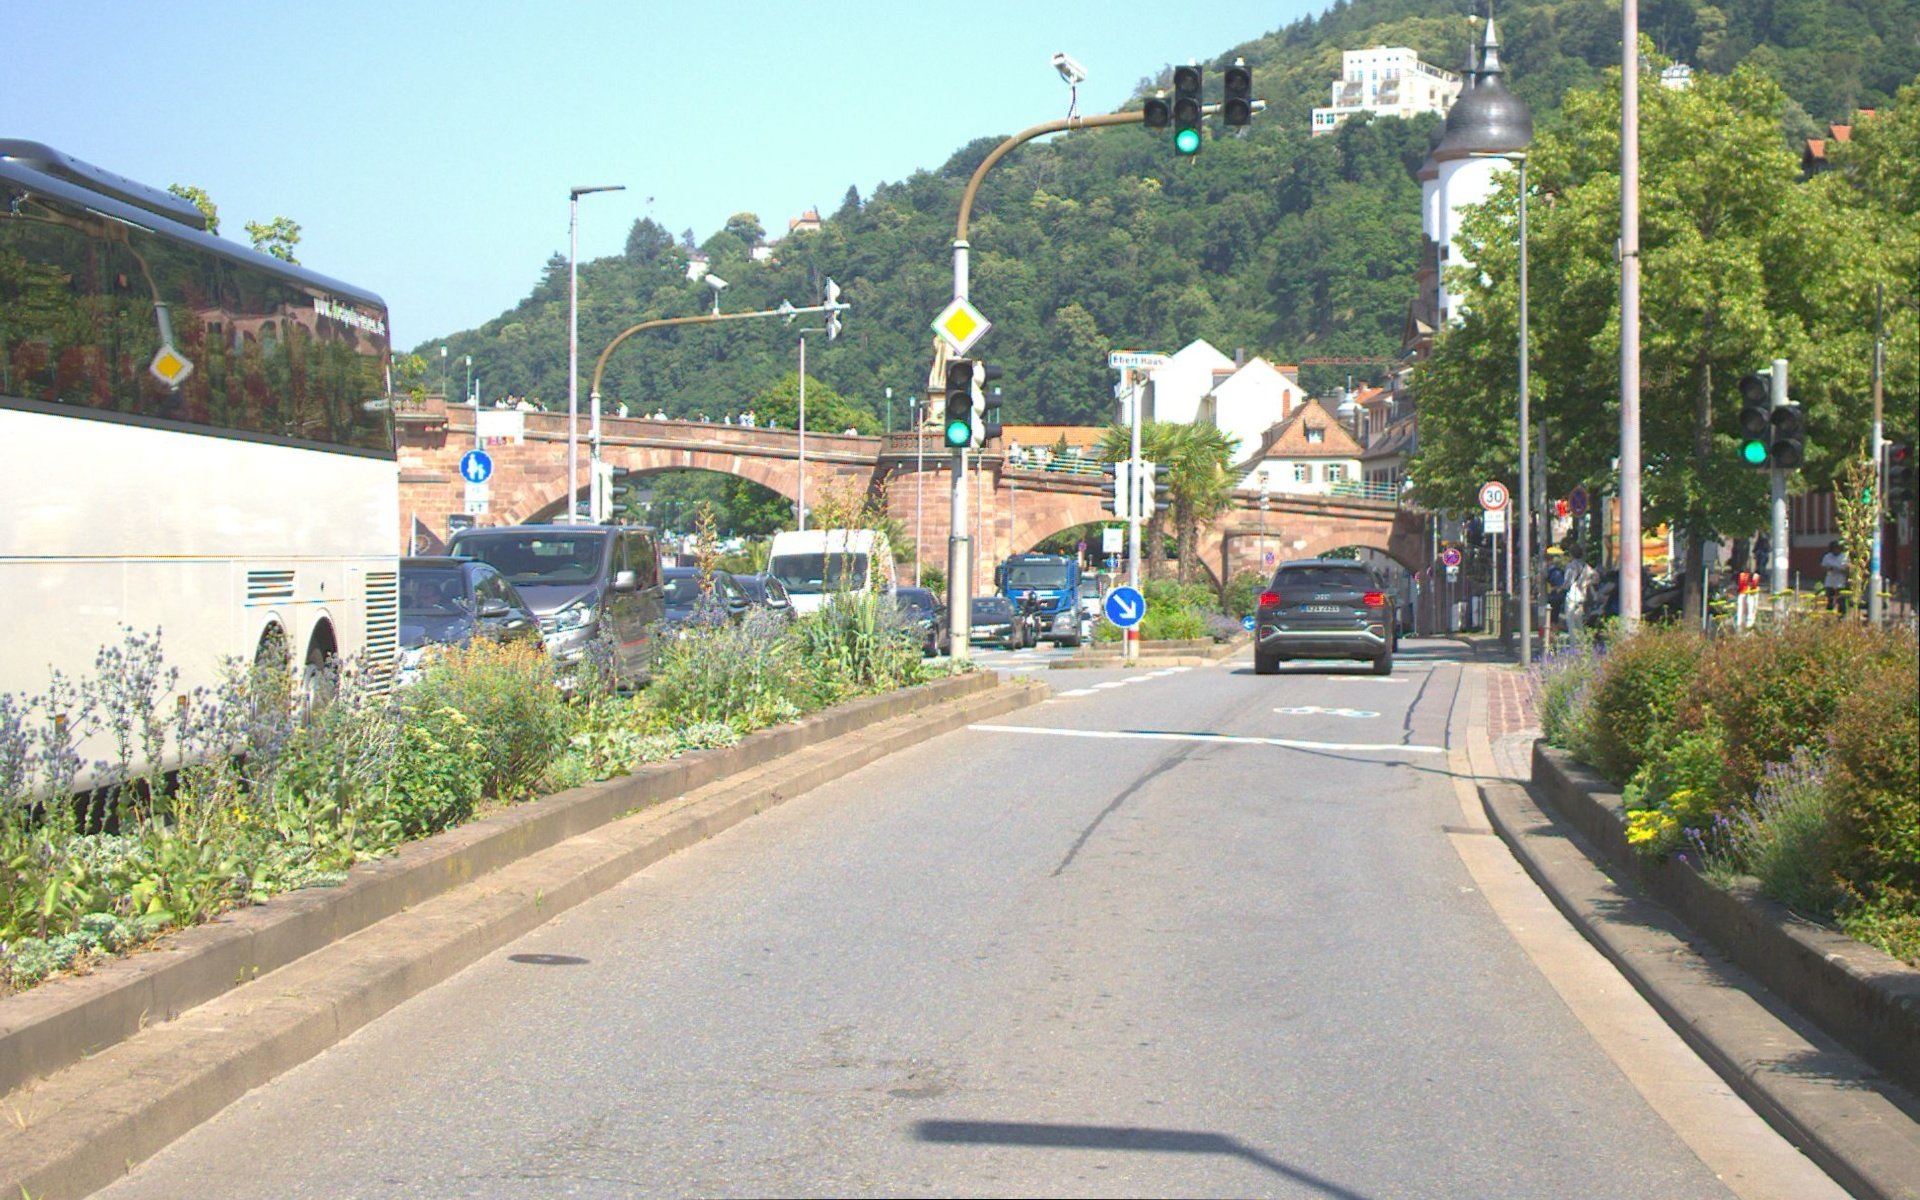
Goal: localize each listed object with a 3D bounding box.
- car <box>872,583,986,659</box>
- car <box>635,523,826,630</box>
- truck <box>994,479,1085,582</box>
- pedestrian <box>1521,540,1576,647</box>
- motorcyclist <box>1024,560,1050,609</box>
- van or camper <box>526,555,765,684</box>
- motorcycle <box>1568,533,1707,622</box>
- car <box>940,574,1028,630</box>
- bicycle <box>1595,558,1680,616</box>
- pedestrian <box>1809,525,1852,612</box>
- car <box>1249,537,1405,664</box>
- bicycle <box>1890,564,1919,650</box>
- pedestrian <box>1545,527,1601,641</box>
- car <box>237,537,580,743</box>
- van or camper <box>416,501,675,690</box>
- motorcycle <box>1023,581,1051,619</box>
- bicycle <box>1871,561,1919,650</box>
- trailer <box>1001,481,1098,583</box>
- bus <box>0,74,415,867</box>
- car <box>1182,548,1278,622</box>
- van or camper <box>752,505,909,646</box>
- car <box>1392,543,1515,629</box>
[{"bbox_3d":[-0.616,0.410,71.992,1.819,1.451,4.928,-2,1,6],"label":"car"},{"bbox_3d":[-3.230,-0.349,49.335,1.952,1.404,4.569,-2,1,6],"label":"car"},{"bbox_3d":[2.710,-2.318,115.503,2.658,3.392,4.449,0,1,6],"label":"truck"},{"bbox_3d":[9.359,-0.109,54.698,0.693,1.671,0.764,-1,1,-1],"label":"pedestrian"},{"bbox_3d":[2.329,-0.471,103.800,0.736,1.465,1.011,0,1,3],"label":"motorcyclist"},{"bbox_3d":[-3.806,0.209,42.568,1.994,1.472,5.064,-1,0,6],"label":"van or camper"},{"bbox_3d":[11.437,-0.373,58.093,0.762,1.460,2.297,0,0,-43],"label":"motorcycle"},{"bbox_3d":[0.676,0.082,93.102,1.952,1.408,4.217,-2,-1,6],"label":"car"},{"bbox_3d":[12.294,-0.235,62.400,1.484,1.043,0.251,-1,0,1],"label":"bicycle"},{"bbox_3d":[16.636,-0.600,65.708,0.708,1.647,0.707,0,1,7],"label":"pedestrian"},{"bbox_3d":[4.888,-0.044,46.093,1.927,1.548,4.831,1,1,5],"label":"car"},{"bbox_3d":[14.131,0.128,48.273,2.014,1.194,0.521,2,2,18],"label":"bicycle"},{"bbox_3d":[9.647,-0.256,54.092,0.693,1.765,0.764,-1,1,-1],"label":"pedestrian"},{"bbox_3d":[-4.765,0.285,30.513,1.993,1.593,5.157,-2,1,2],"label":"car"},{"bbox_3d":[-4.354,-0.073,36.903,1.993,1.867,5.179,0,1,2],"label":"van or camper"},{"bbox_3d":[2.325,-0.007,103.800,0.757,1.128,2.455,0,1,3],"label":"motorcycle"},{"bbox_3d":[13.754,0.106,47.862,2.000,1.194,0.521,3,2,18],"label":"bicycle"},{"bbox_3d":[3.178,-2.346,119.783,2.658,3.392,8.824,0,1,6],"label":"trailer"},{"bbox_3d":[-5.508,-0.597,18.448,2.631,3.552,12.982,0,0,2],"label":"bus"},{"bbox_3d":[6.072,-0.358,76.833,1.994,1.548,4.831,0,1,6],"label":"car"},{"bbox_3d":[-2.318,-0.431,63.112,1.994,2.441,5.493,-1,0,7],"label":"van or camper"},{"bbox_3d":[8.914,-0.282,61.802,1.927,1.456,4.830,1,1,11],"label":"car"}]
